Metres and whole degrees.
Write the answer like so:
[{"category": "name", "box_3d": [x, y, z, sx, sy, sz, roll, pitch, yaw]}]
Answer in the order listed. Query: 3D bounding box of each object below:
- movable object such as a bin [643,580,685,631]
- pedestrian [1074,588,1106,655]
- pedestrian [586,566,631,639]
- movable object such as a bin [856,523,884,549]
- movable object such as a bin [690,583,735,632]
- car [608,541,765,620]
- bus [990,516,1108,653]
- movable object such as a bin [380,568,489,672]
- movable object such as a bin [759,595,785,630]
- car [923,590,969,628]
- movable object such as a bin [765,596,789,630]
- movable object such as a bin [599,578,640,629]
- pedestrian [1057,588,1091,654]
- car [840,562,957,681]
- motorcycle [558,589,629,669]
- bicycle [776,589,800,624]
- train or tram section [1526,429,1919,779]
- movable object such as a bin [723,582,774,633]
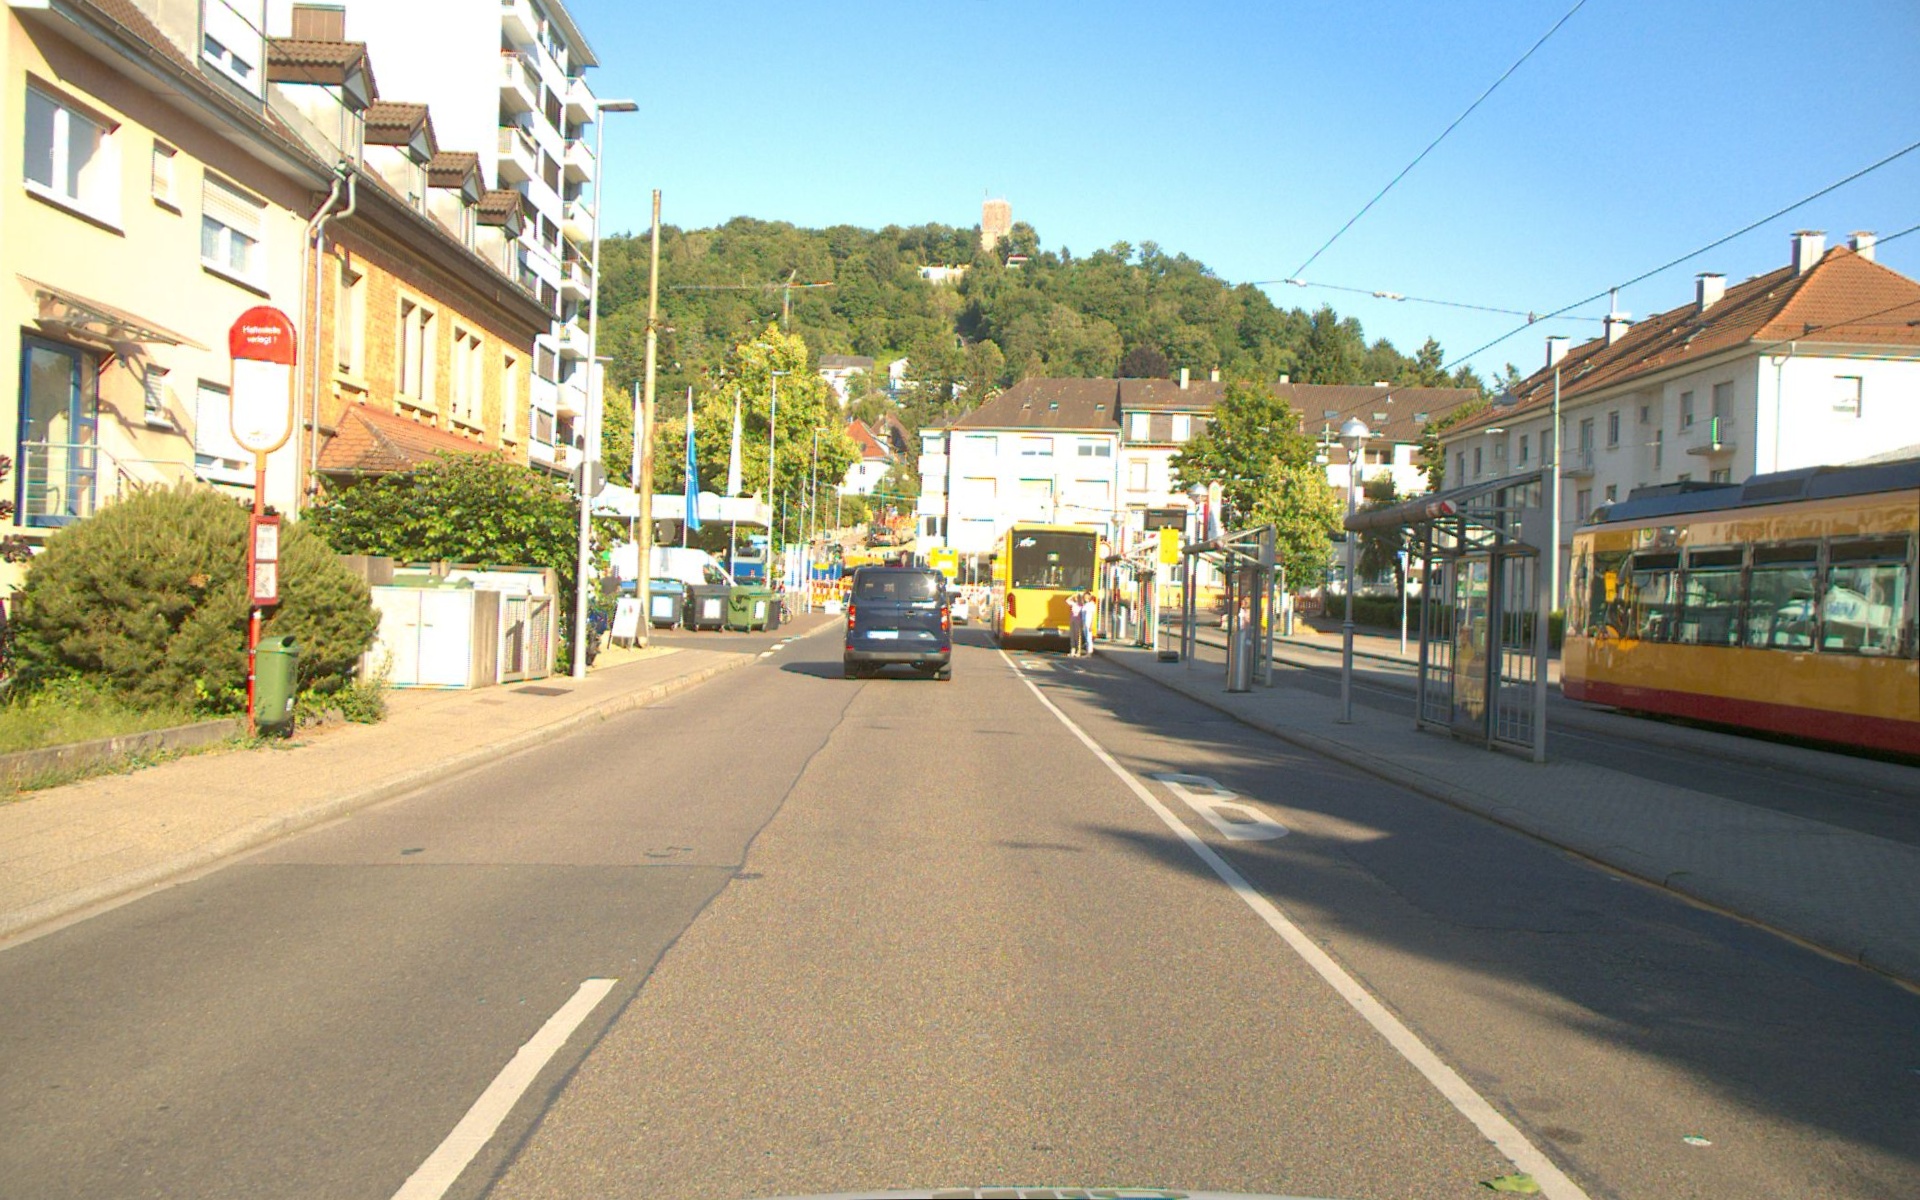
[{"category": "movable object such as a bin", "box_3d": [-9.238, 0.156, 51.585, 1.194, 1.508, 0.703, 1, 3, -5]}, {"category": "pedestrian", "box_3d": [3.261, 0.539, 41.576, 0.540, 1.641, 0.542, 1, 0, -38]}, {"category": "pedestrian", "box_3d": [-9.392, 0.062, 44.177, 0.803, 1.900, 0.793, 2, 1, 33]}, {"category": "movable object such as a bin", "box_3d": [-10.078, -7.193, 185.184, 2.144, 2.737, 4.004, 2, 1, 10]}, {"category": "movable object such as a bin", "box_3d": [-7.783, 0.226, 51.934, 1.205, 1.508, 0.697, 0, 4, -30]}, {"category": "car", "box_3d": [-9.491, -0.663, 57.380, 4.986, 2.512, 2.094, 2, 0, -23]}, {"category": "bus", "box_3d": [2.427, -0.499, 49.081, 2.634, 3.475, 12.017, 2, 1, -1]}, {"category": "movable object such as a bin", "box_3d": [-7.660, 0.284, 24.158, 1.281, 1.454, 0.991, 1, 0, -5]}, {"category": "movable object such as a bin", "box_3d": [-6.128, 0.406, 53.919, 0.646, 1.080, 0.585, 4, 2, 11]}, {"category": "car", "box_3d": [-0.556, 0.326, 66.735, 1.757, 1.434, 4.000, 2, 0, 0]}, {"category": "movable object such as a bin", "box_3d": [-6.034, 0.426, 54.540, 0.626, 1.088, 0.581, 2, 3, 11]}, {"category": "movable object such as a bin", "box_3d": [-10.602, 0.093, 51.492, 1.155, 1.508, 0.703, 1, 3, -5]}, {"category": "pedestrian", "box_3d": [2.890, 0.537, 41.912, 0.540, 1.641, 0.627, 1, 0, -38]}, {"category": "car", "box_3d": [-1.097, 0.358, 31.053, 2.020, 2.049, 4.999, 0, 0, -1]}, {"category": "motorcycle", "box_3d": [-6.385, 0.488, 28.937, 0.822, 1.304, 2.231, 2, 0, -4]}, {"category": "bicycle", "box_3d": [-6.219, 0.234, 59.699, 0.710, 1.198, 1.777, 2, 0, -10]}, {"category": "train or tram section", "box_3d": [11.253, 0.087, 20.330, 2.897, 3.596, 15.966, 1, 0, -1]}, {"category": "movable object such as a bin", "box_3d": [-6.759, 0.226, 52.972, 1.035, 1.508, 1.311, 3, 4, 27]}]
